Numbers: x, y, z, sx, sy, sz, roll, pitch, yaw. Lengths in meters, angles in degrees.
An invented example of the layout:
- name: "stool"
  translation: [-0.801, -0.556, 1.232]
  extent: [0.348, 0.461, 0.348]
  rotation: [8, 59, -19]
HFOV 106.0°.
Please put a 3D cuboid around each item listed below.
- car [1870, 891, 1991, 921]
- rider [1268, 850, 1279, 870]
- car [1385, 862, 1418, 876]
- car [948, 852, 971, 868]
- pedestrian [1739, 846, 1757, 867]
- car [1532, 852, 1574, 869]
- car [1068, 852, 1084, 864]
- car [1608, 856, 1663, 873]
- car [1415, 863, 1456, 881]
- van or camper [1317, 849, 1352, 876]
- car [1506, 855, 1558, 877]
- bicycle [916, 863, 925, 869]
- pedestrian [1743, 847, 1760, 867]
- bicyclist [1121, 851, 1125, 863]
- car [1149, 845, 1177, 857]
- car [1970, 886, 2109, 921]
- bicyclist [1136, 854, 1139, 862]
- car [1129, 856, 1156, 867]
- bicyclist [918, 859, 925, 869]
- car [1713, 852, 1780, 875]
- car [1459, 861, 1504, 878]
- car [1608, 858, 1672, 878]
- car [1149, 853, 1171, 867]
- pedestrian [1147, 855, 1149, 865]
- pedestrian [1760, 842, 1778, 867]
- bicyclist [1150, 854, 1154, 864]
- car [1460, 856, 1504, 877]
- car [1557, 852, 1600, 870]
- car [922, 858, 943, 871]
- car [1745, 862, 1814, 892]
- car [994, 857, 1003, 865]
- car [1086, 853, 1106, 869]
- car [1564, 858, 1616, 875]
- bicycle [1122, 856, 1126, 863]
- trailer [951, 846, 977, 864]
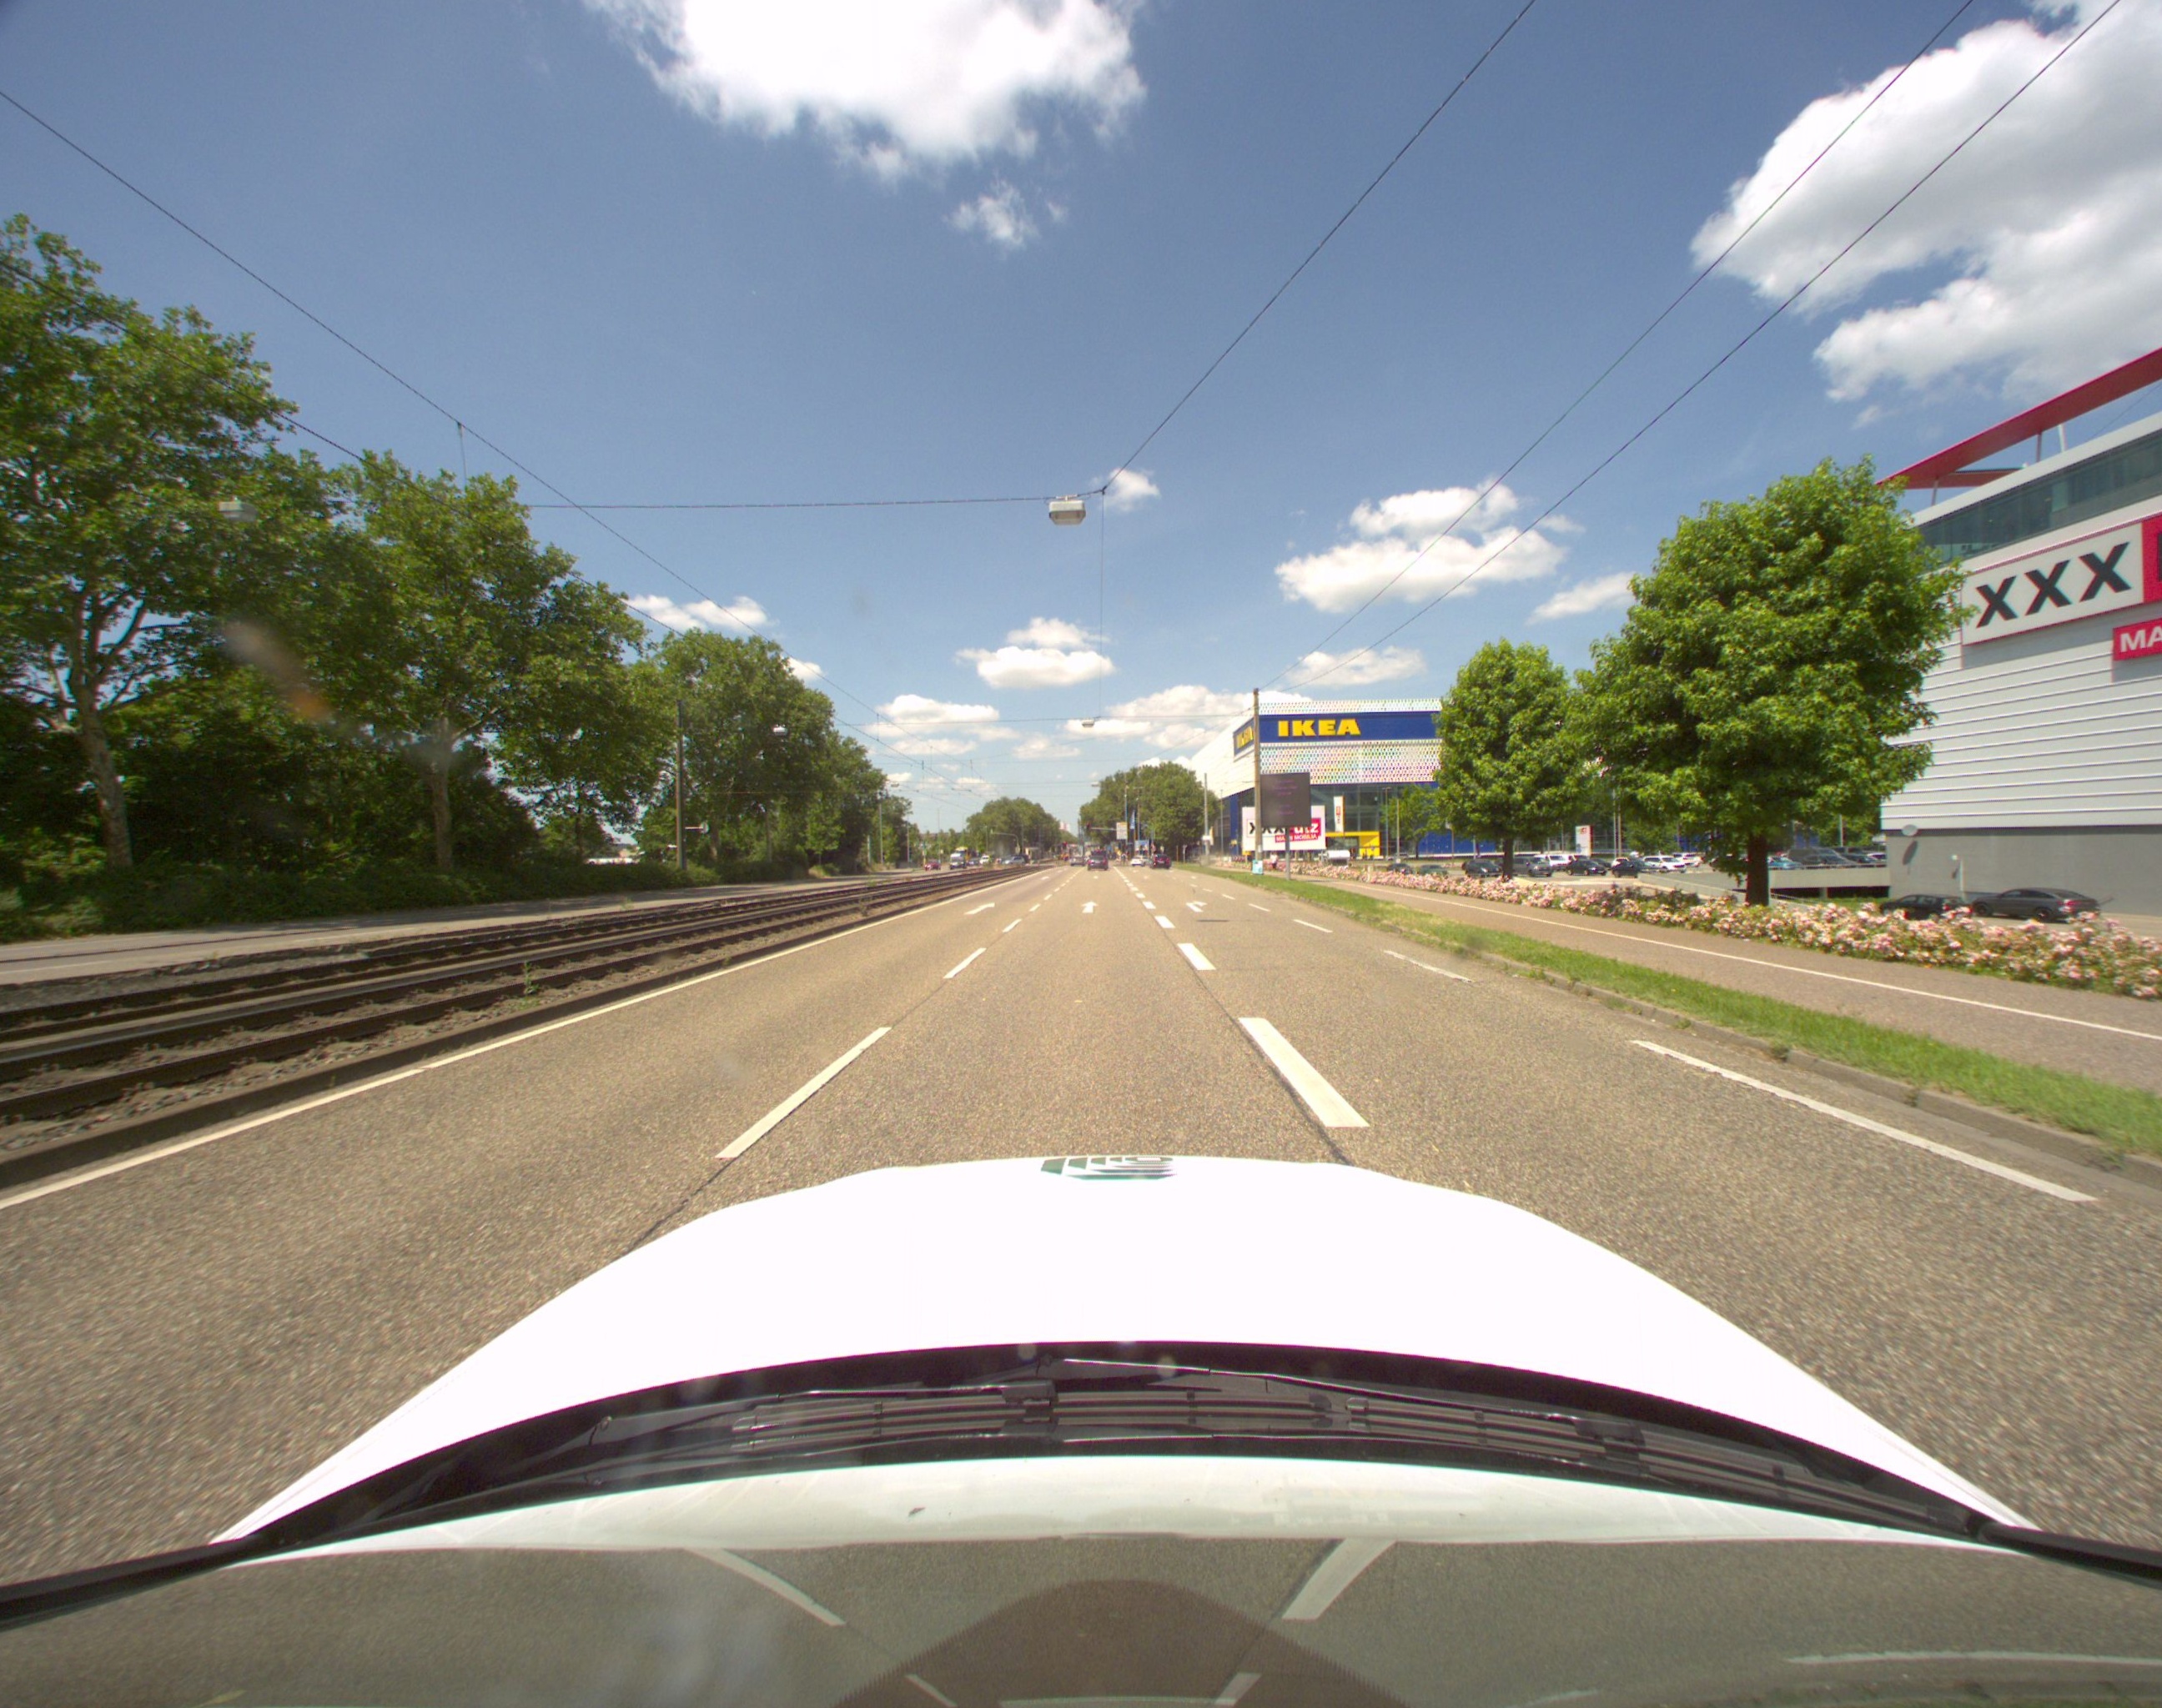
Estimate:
- name: "car"
  translation: [45.852, 2.766, 44.107]
  extent: [1.987, 1.398, 4.351]
  rotation: [0, 0, -1]
- name: "rider"
  translation: [13.963, 0.458, 59.149]
  extent: [0.667, 1.457, 0.618]
  rotation: [0, -1, 0]
- name: "car"
  translation: [36.409, 1.682, 92.615]
  extent: [1.986, 1.537, 4.770]
  rotation: [-2, 0, 1]
- name: "car"
  translation: [-15.273, 0.701, 102.566]
  extent: [1.987, 1.830, 4.968]
  rotation: [-3, 0, 0]
- name: "pedestrian"
  translation: [51.138, 0.204, 62.440]
  extent: [0.738, 1.557, 0.735]
  rotation: [0, 0, -1]
- name: "car"
  translation: [53.447, 0.690, 92.343]
  extent: [1.986, 1.852, 5.002]
  rotation: [0, 0, 1]
- name: "car"
  translation: [-0.688, 0.529, 111.042]
  extent: [1.986, 1.486, 4.001]
  rotation: [1, 0, 1]
- name: "car"
  translation: [52.887, 0.972, 77.769]
  extent: [1.986, 1.610, 5.002]
  rotation: [0, 0, 1]
- name: "car"
  translation: [33.580, 1.665, 77.206]
  extent: [1.986, 1.496, 4.304]
  rotation: [-3, 0, 1]
- name: "van or camper"
  translation: [29.600, 0.973, 95.352]
  extent: [2.495, 3.020, 7.233]
  rotation: [0, 0, 5]
- name: "car"
  translation: [42.952, 1.125, 77.745]
  extent: [1.986, 2.013, 5.536]
  rotation: [0, 0, 1]
- name: "bicycle"
  translation: [-28.980, 2.143, 146.959]
  extent: [1.487, 0.987, 0.485]
  rotation: [0, -1, -3]
- name: "pedestrian"
  translation: [52.104, 0.203, 63.259]
  extent: [0.738, 1.557, 0.735]
  rotation: [0, 0, -1]
- name: "bicyclist"
  translation: [6.446, 0.472, 124.016]
  extent: [0.527, 1.789, 1.088]
  rotation: [0, -1, 2]
- name: "car"
  translation: [14.533, -0.517, 144.314]
  extent: [4.410, 1.918, 1.987]
  rotation: [1, 0, -20]
- name: "car"
  translation: [50.500, 2.577, 43.059]
  extent: [1.986, 1.612, 4.590]
  rotation: [0, 0, 1]
- name: "bicyclist"
  translation: [8.701, 0.559, 125.293]
  extent: [0.468, 1.193, 0.792]
  rotation: [0, -1, 4]
- name: "car"
  translation: [8.609, 1.002, 113.219]
  extent: [1.974, 1.486, 4.417]
  rotation: [1, 0, 31]
- name: "bicyclist"
  translation: [-28.808, 1.755, 147.023]
  extent: [1.116, 1.774, 0.340]
  rotation: [0, -1, -4]
- name: "car"
  translation: [54.010, 0.750, 66.163]
  extent: [1.986, 1.781, 4.334]
  rotation: [1, 0, 1]
- name: "car"
  translation: [38.161, 1.440, 77.695]
  extent: [1.986, 1.550, 5.002]
  rotation: [0, 0, 1]
- name: "car"
  translation: [46.230, 1.126, 67.464]
  extent: [1.986, 1.610, 5.002]
  rotation: [0, 0, 1]
- name: "car"
  translation: [8.318, 0.619, 85.600]
  extent: [1.986, 1.486, 4.001]
  rotation: [1, 0, 1]
- name: "pedestrian"
  translation: [10.294, 0.941, 125.430]
  extent: [0.380, 1.635, 0.377]
  rotation: [0, 0, 4]
- name: "pedestrian"
  translation: [52.253, 0.040, 61.817]
  extent: [0.738, 1.869, 0.735]
  rotation: [0, 0, -1]
- name: "bicyclist"
  translation: [11.797, 0.852, 135.191]
  extent: [0.525, 1.764, 0.830]
  rotation: [-1, -1, 14]
- name: "car"
  translation: [40.846, 1.204, 83.104]
  extent: [1.986, 2.013, 5.002]
  rotation: [-2, 0, 1]
- name: "car"
  translation: [56.247, 0.775, 92.200]
  extent: [1.986, 2.007, 5.002]
  rotation: [0, 0, 1]
- name: "car"
  translation: [-20.639, 1.461, 113.294]
  extent: [1.987, 1.670, 4.467]
  rotation: [-3, 0, 0]
- name: "car"
  translation: [56.682, 1.851, 66.200]
  extent: [1.986, 2.327, 4.334]
  rotation: [1, 0, 1]
- name: "car"
  translation: [-21.593, 1.807, 212.965]
  extent: [1.811, 1.883, 4.000]
  rotation: [0, 0, 1]
- name: "car"
  translation: [1.449, 0.621, 77.836]
  extent: [1.786, 1.455, 4.001]
  rotation: [-2, 0, 1]
- name: "car"
  translation: [48.061, 1.156, 77.018]
  extent: [1.986, 1.610, 5.002]
  rotation: [0, 0, 1]
- name: "bicycle"
  translation: [6.512, 0.853, 123.389]
  extent: [0.685, 0.993, 2.752]
  rotation: [0, 0, 2]
- name: "trailer"
  translation: [-23.646, 0.249, 165.898]
  extent: [2.757, 3.518, 15.880]
  rotation: [0, 0, 1]
